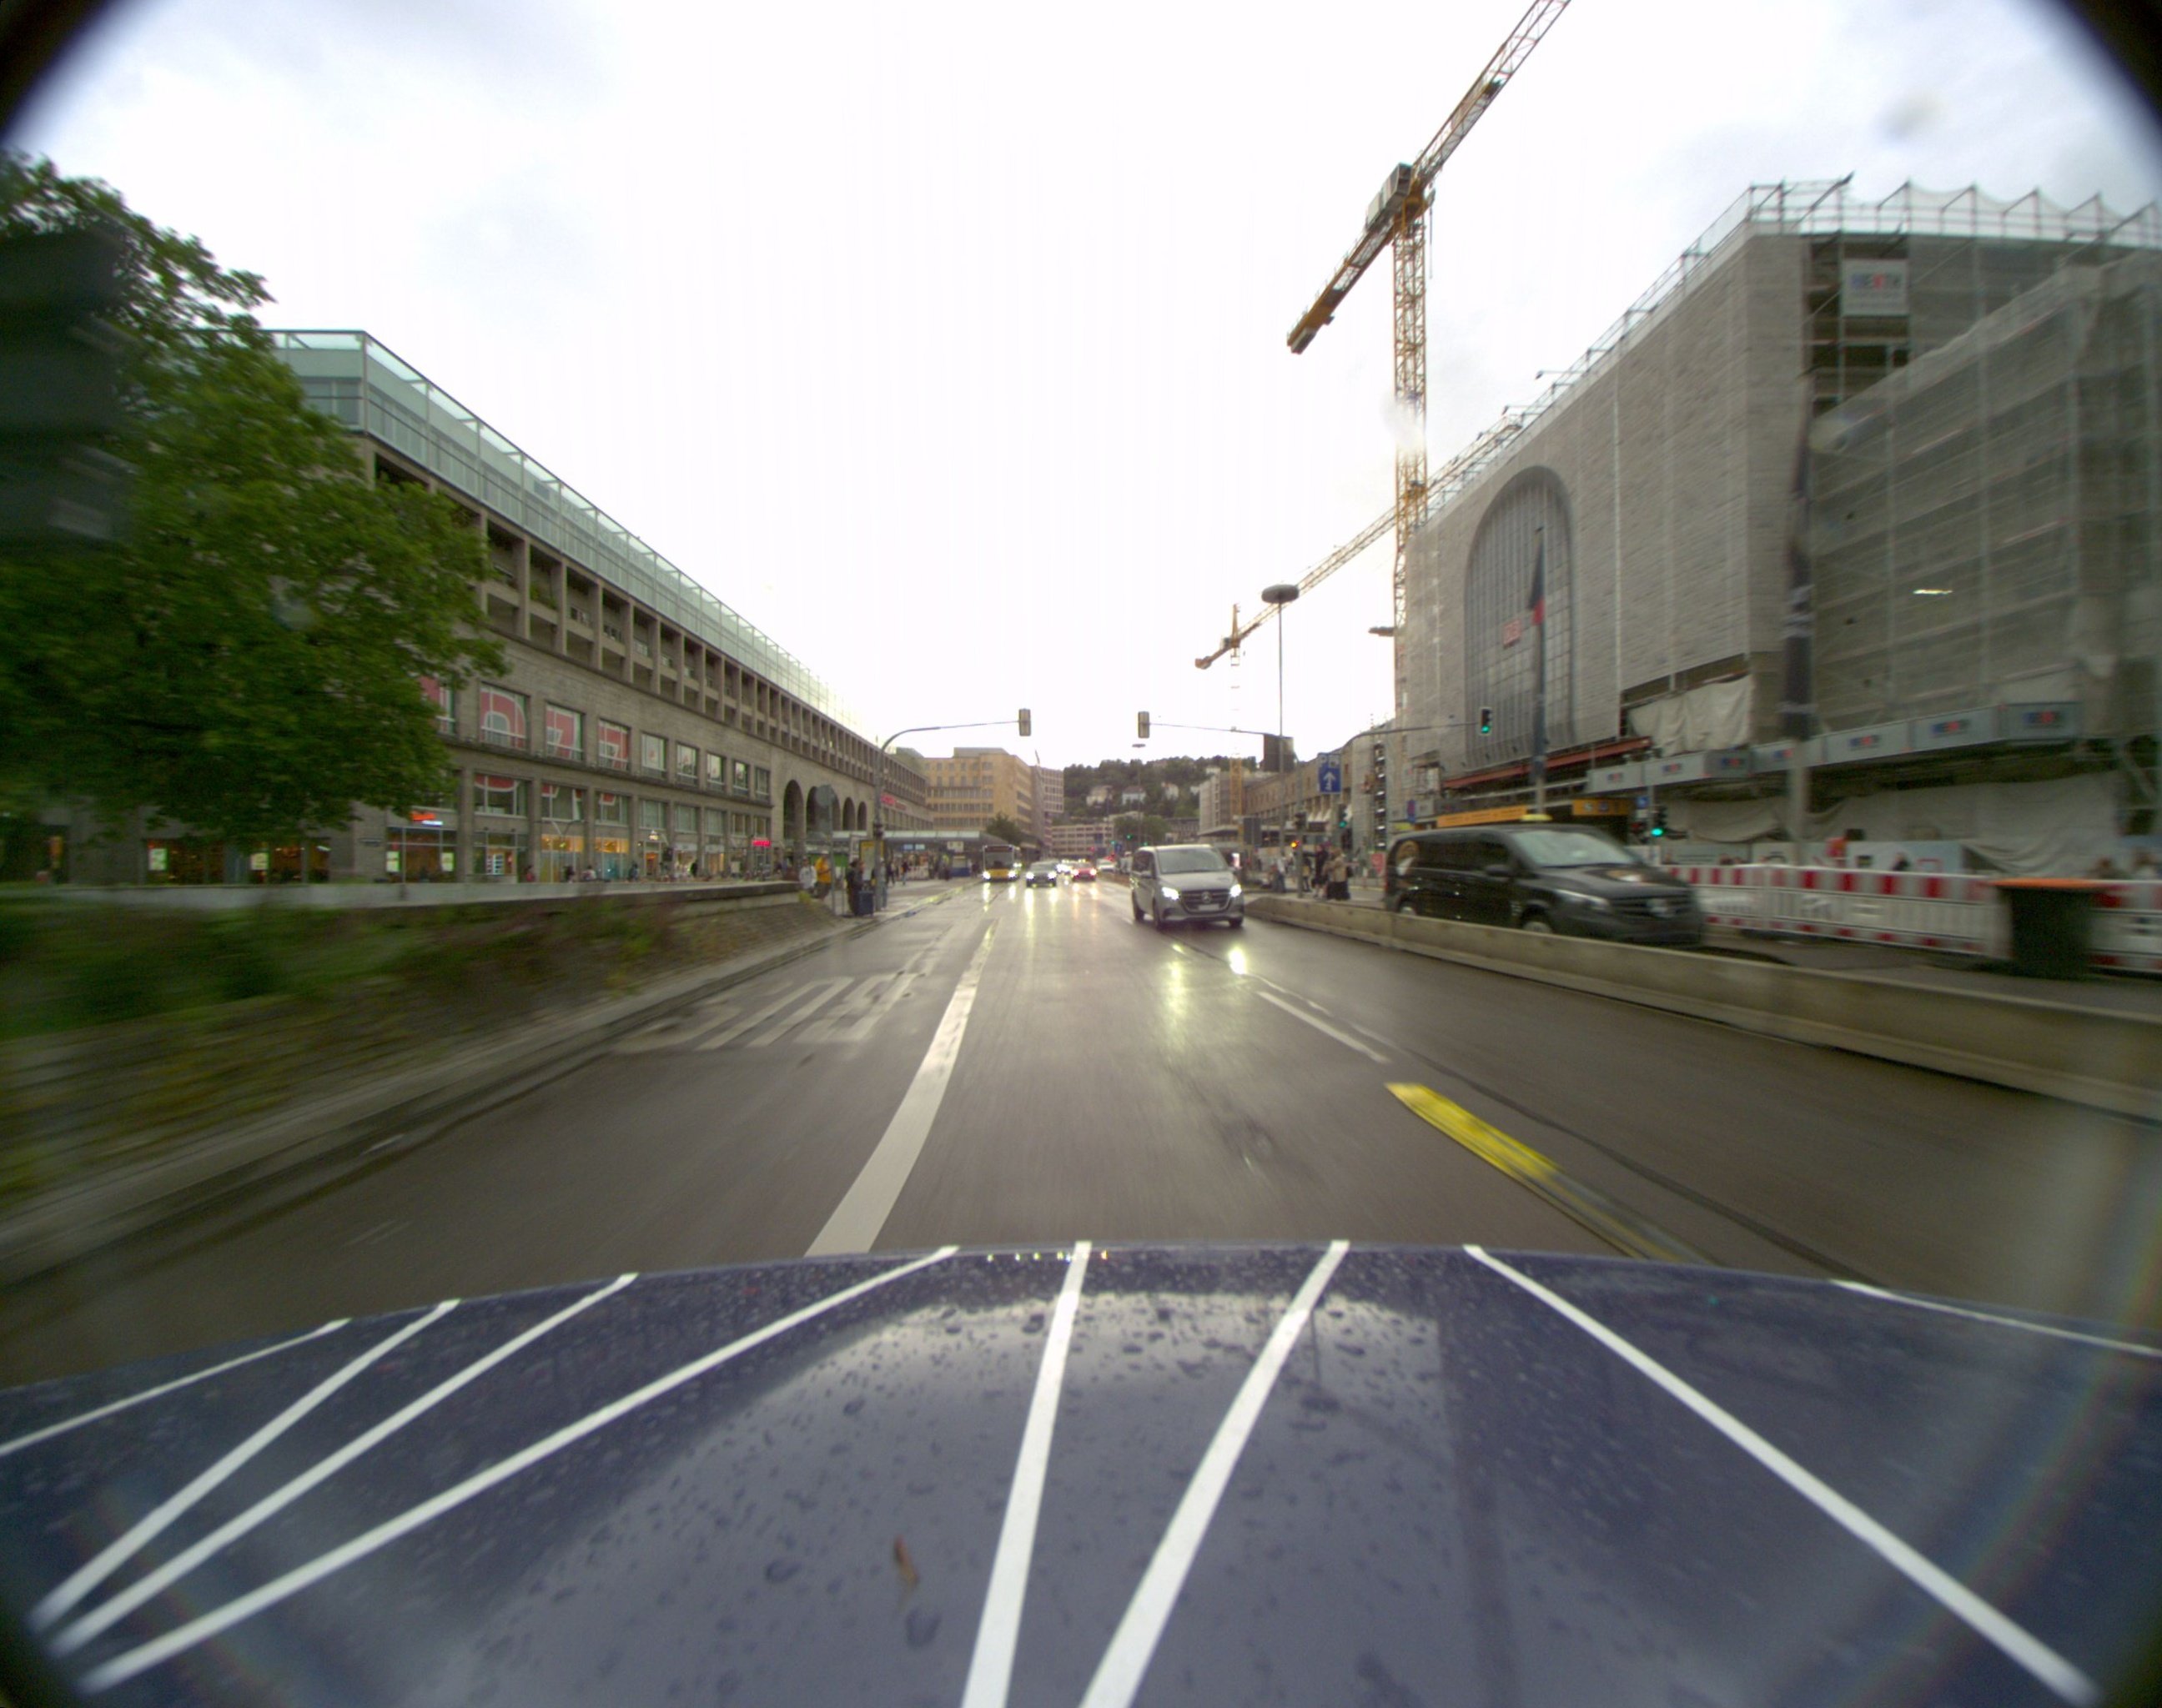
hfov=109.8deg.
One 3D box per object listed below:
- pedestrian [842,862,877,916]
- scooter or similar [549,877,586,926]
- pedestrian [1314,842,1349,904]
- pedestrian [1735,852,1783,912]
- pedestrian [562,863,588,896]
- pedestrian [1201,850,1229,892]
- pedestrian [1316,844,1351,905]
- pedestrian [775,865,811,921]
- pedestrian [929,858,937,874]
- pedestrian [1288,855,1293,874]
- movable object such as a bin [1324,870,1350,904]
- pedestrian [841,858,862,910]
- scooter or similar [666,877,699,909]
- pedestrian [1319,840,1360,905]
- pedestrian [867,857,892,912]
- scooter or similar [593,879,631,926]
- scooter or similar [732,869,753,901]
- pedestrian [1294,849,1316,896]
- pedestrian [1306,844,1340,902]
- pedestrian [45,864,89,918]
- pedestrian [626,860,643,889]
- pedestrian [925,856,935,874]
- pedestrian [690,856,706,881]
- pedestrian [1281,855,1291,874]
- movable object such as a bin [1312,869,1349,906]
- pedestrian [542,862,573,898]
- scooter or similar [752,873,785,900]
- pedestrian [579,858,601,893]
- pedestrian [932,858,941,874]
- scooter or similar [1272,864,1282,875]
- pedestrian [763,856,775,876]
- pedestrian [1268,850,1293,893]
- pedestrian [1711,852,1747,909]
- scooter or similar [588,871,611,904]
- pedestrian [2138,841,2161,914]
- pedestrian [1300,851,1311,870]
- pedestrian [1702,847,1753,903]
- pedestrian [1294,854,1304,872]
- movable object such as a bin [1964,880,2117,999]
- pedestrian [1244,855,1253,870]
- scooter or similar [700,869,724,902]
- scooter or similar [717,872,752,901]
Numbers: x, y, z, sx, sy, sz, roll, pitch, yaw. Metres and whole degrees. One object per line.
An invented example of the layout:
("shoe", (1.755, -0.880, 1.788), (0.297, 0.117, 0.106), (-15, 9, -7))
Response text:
("pedestrian", (-6.979, 1.084, 23.960), (0.877, 1.681, 0.758), (0, 0, -2))
("scooter or similar", (-14.219, 1.299, 21.053), (0.374, 1.251, 1.314), (-2, 1, -14))
("pedestrian", (7.675, 0.581, 23.279), (1.005, 1.875, 0.684), (0, 0, 20))
("pedestrian", (21.302, 0.849, 23.888), (0.699, 1.830, 0.877), (-2, 1, -4))
("pedestrian", (-23.545, 1.187, 35.380), (0.671, 1.515, 0.783), (0, 0, 6))
("pedestrian", (6.376, 0.795, 36.109), (1.030, 2.002, 0.834), (-1, 0, -43))
("pedestrian", (7.984, 0.633, 23.979), (1.005, 1.875, 0.818), (0, 0, 20))
("pedestrian", (-8.153, 1.087, 21.524), (0.657, 1.546, 0.634), (-1, 1, 11))
("pedestrian", (-17.099, 1.383, 87.631), (0.596, 1.863, 0.592), (-1, 0, 31))
("pedestrian", (19.972, 1.017, 72.447), (0.339, 1.830, 0.510), (-1, 0, 14))
("movable object such as a bin", (8.235, 1.048, 24.418), (0.743, 1.070, 0.750), (0, 0, 20))
("pedestrian", (-8.043, 1.038, 26.609), (0.541, 1.794, 0.756), (-1, 1, -30))
("scooter or similar", (-15.714, 1.526, 29.945), (1.363, 1.243, 0.439), (-1, 1, 29))
("pedestrian", (7.590, 0.545, 22.378), (0.835, 1.870, 1.028), (-1, 0, 0))
("pedestrian", (-6.708, 1.010, 25.286), (0.748, 1.794, 0.708), (0, 1, -17))
("scooter or similar", (-13.044, 1.333, 21.170), (0.353, 1.210, 1.158), (-2, 1, -4))
("scooter or similar", (-13.771, 1.259, 30.953), (0.325, 1.230, 1.099), (-2, 1, -1))
("pedestrian", (8.384, 0.684, 28.436), (0.584, 1.725, 0.756), (0, 0, -2))
("pedestrian", (8.039, 0.619, 25.223), (0.833, 1.875, 0.690), (0, 0, -12))
("pedestrian", (-32.035, 1.146, 23.997), (0.710, 1.658, 0.772), (-1, 1, 36))
("pedestrian", (-26.496, 1.226, 45.108), (0.598, 1.679, 0.708), (0, 1, -2))
("pedestrian", (-15.345, 1.133, 77.232), (0.790, 1.794, 0.990), (-1, 1, -30))
("pedestrian", (-26.473, 1.024, 52.513), (0.723, 1.686, 0.776), (-2, 1, -3))
("pedestrian", (19.757, 1.014, 73.314), (0.702, 1.830, 0.879), (-1, 0, 27))
("movable object such as a bin", (7.417, 0.982, 22.595), (1.005, 1.070, 0.750), (0, 0, 20))
("pedestrian", (-24.954, 1.237, 36.245), (0.794, 1.665, 0.889), (-2, 1, 6))
("scooter or similar", (-14.061, 1.442, 34.225), (0.437, 1.123, 1.368), (-3, 0, 24))
("pedestrian", (-22.809, 1.011, 35.301), (0.646, 1.592, 0.616), (1, 2, 4))
("pedestrian", (-15.347, 1.247, 80.591), (0.750, 1.685, 0.902), (-1, 0, 2))
("scooter or similar", (18.468, 1.442, 71.548), (0.459, 1.060, 1.242), (-1, 0, 33))
("pedestrian", (-27.433, 1.035, 66.886), (0.733, 1.782, 0.789), (0, 1, -2))
("pedestrian", (7.768, 0.660, 29.604), (0.715, 1.655, 0.836), (0, 0, -2))
("pedestrian", (20.968, 0.843, 24.596), (0.699, 1.830, 0.528), (0, 0, -4))
("scooter or similar", (-19.130, 1.307, 30.223), (0.622, 1.253, 1.747), (-2, 1, -29))
("pedestrian", (28.161, 0.608, 19.476), (0.834, 1.870, 1.030), (1, 1, 28))
("pedestrian", (22.641, 0.638, 76.612), (0.841, 1.830, 1.058), (-1, 0, 2))
("pedestrian", (21.662, 0.678, 25.492), (0.984, 1.830, 1.042), (0, 0, 19))
("pedestrian", (23.045, 0.922, 80.206), (0.804, 1.830, 0.851), (-1, 0, 2))
("movable object such as a bin", (10.215, 0.880, 8.111), (0.672, 1.155, 0.766), (-3, 1, -9))
("pedestrian", (21.934, 1.162, 99.449), (0.744, 1.928, 0.864), (-3, 0, -5))
("scooter or similar", (-15.256, 1.286, 31.431), (0.370, 1.274, 1.172), (-2, 1, -1))
("scooter or similar", (-15.480, 1.443, 33.962), (1.308, 1.249, 0.592), (-1, 1, -16))
